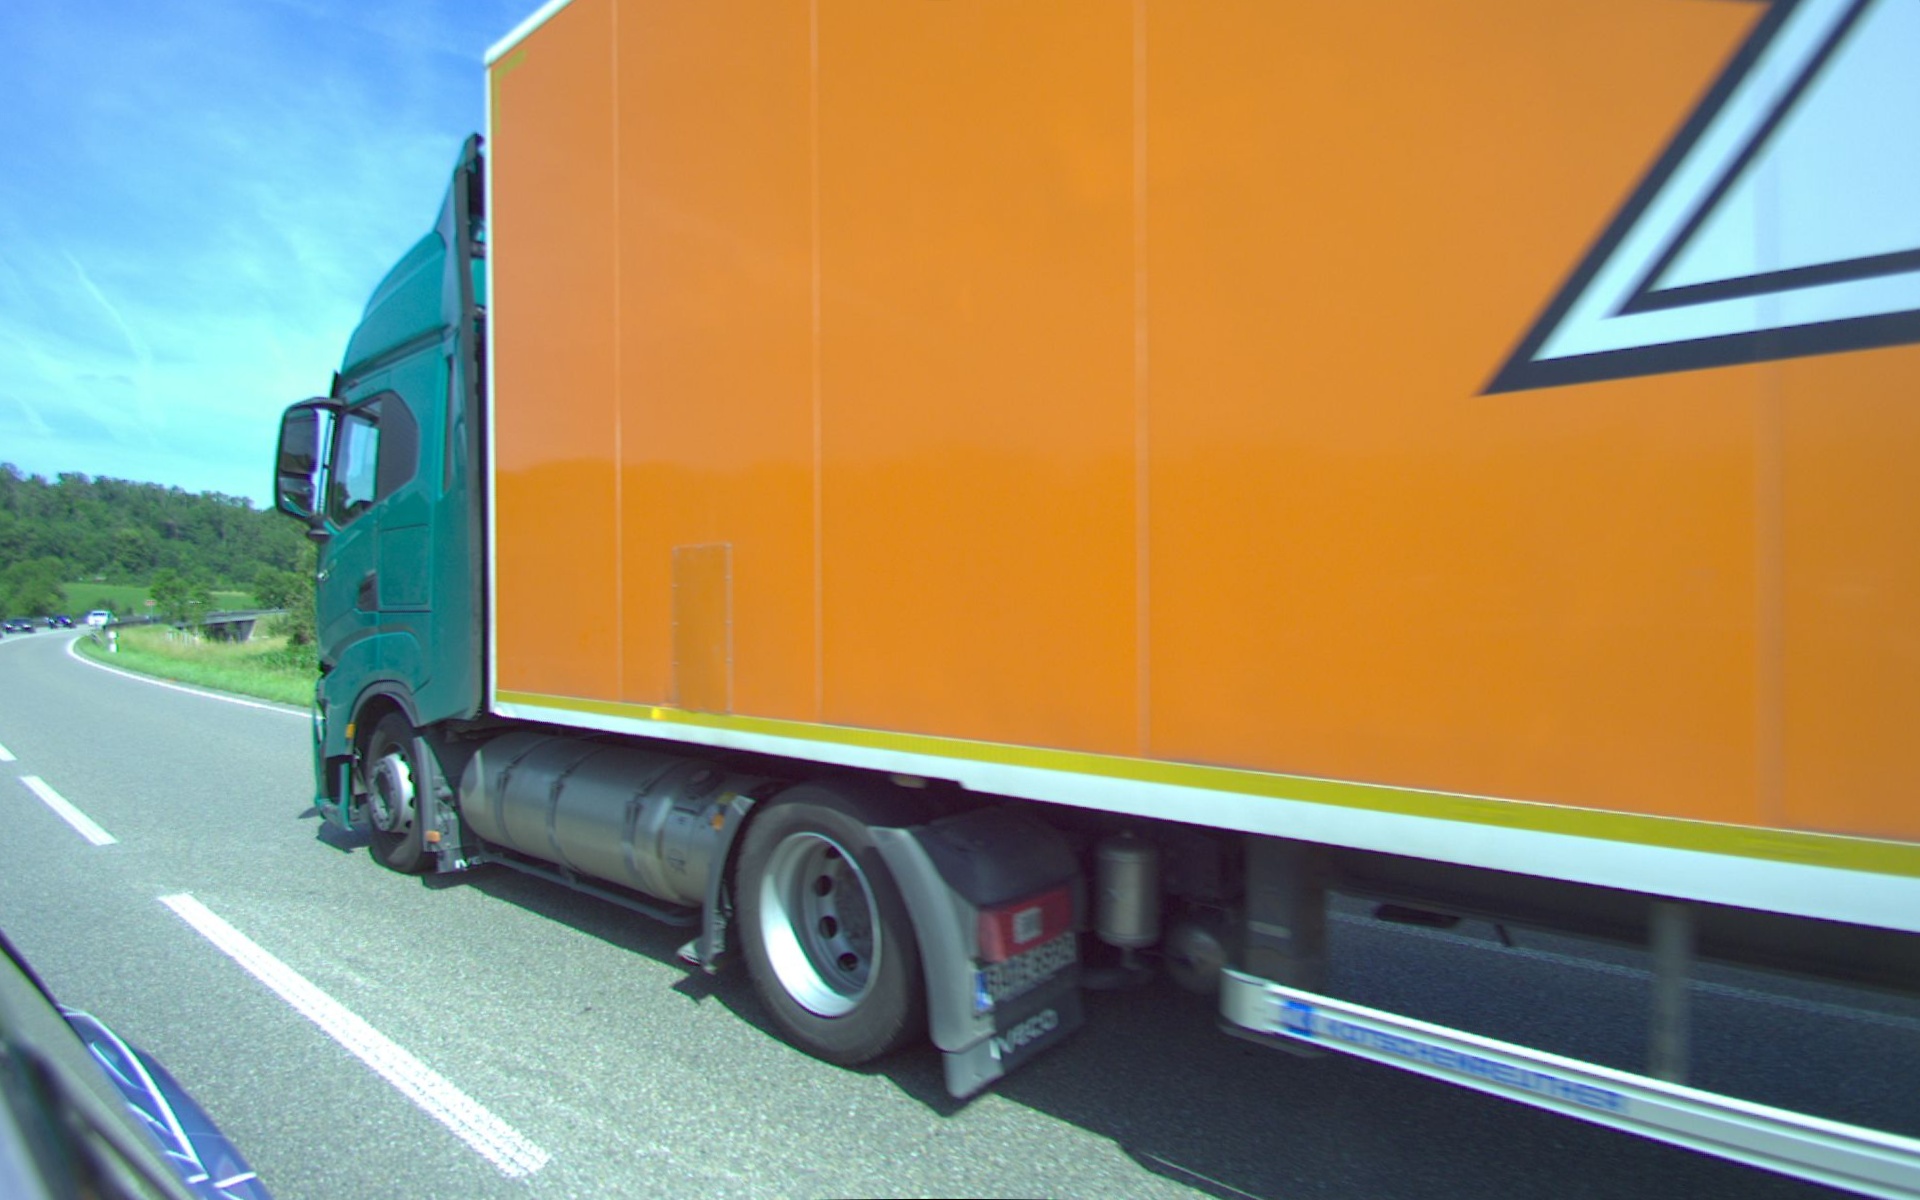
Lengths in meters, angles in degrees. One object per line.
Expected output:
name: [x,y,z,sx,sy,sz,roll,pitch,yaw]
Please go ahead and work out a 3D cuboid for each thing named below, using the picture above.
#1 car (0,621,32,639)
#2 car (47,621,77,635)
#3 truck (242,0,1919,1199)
car: [-84.754,2.686,90.817,1.715,1.465,4.045,0,0,-36]
car: [-102.749,3.196,115.802,1.714,1.465,4.048,0,0,-30]
truck: [2.671,-0.672,2.225,17.013,4.029,2.743,-2,-1,40]
